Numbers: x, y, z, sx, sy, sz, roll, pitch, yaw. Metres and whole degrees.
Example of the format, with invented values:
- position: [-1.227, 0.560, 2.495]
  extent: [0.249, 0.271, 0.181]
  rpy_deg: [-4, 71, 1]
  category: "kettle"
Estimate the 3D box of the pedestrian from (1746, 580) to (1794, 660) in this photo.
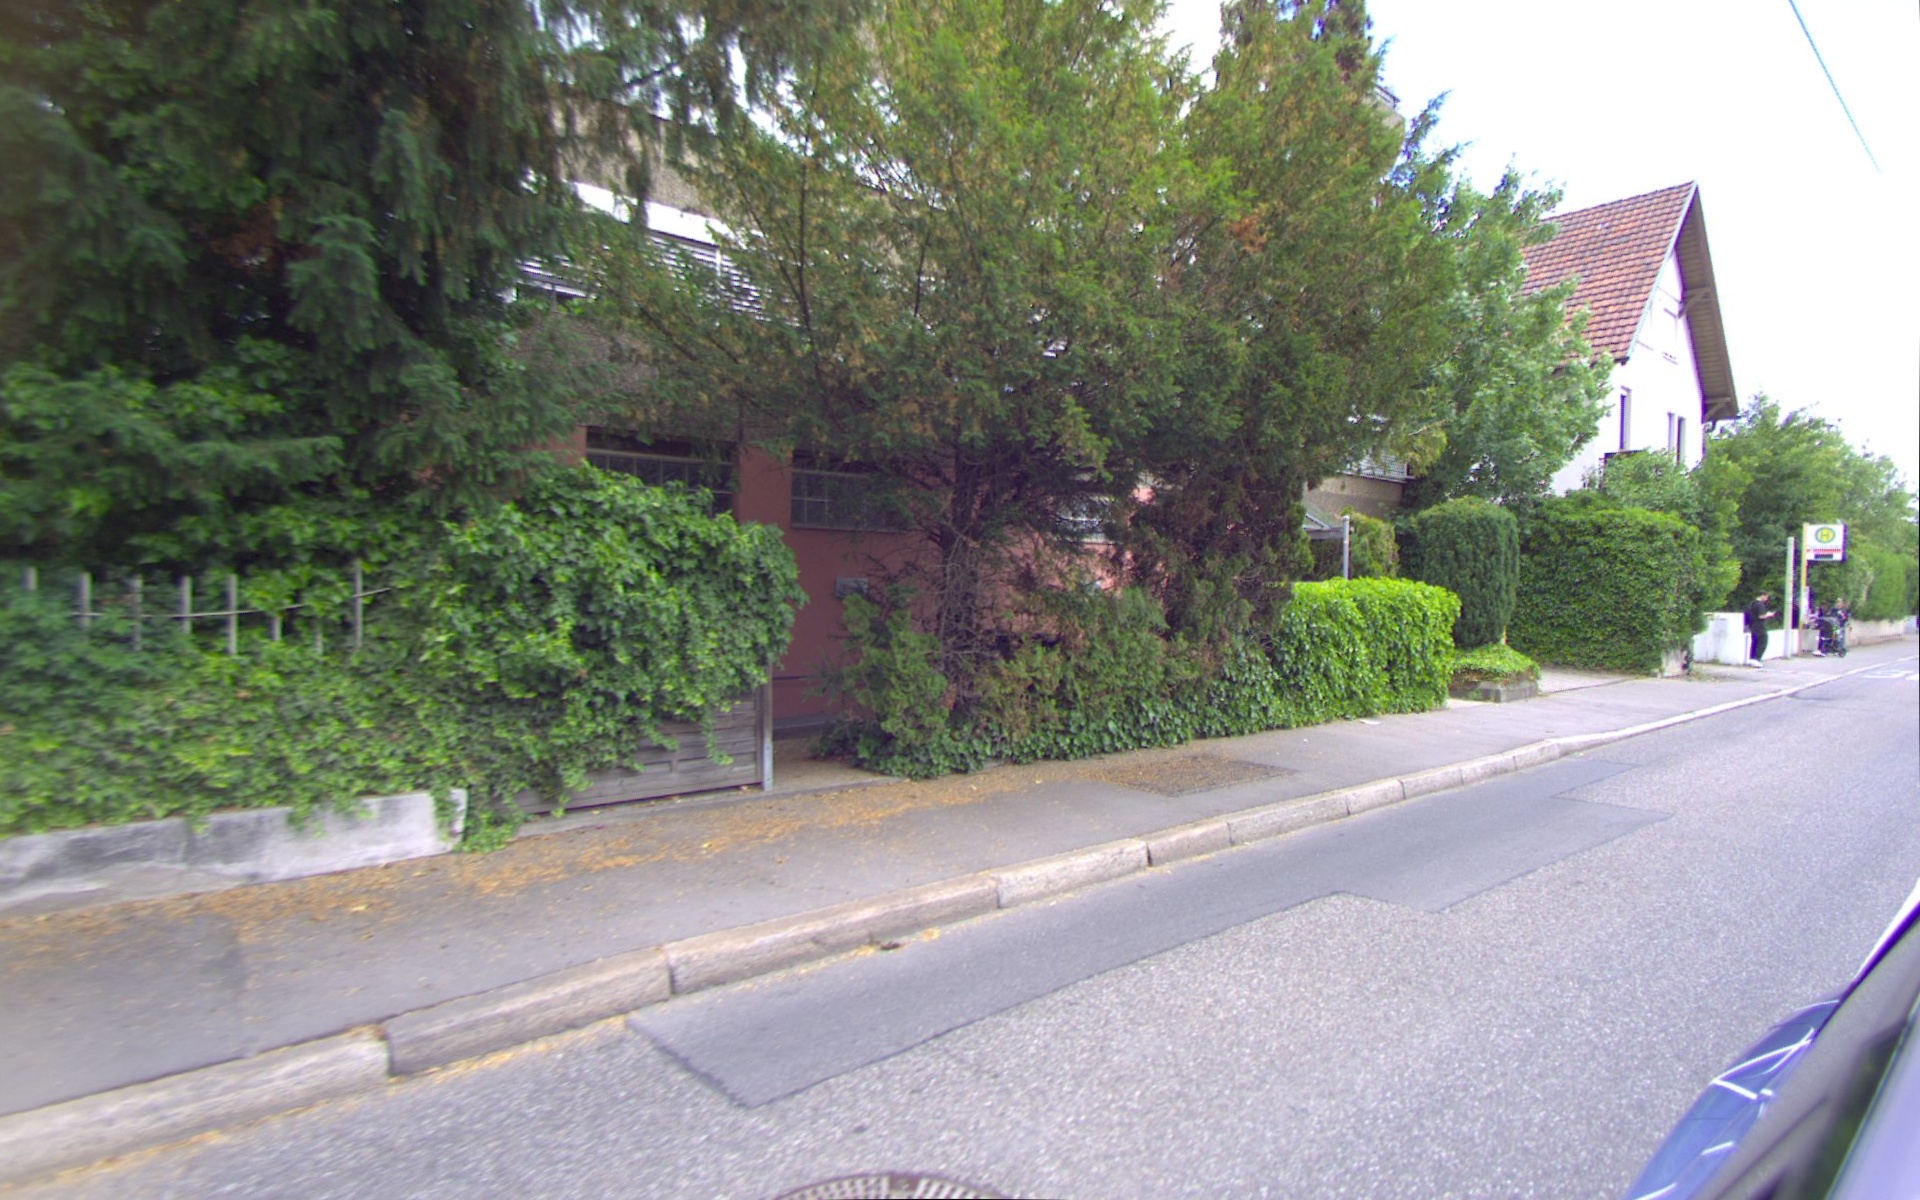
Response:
- position: [18.600, 0.453, 23.244]
  extent: [0.657, 1.789, 0.491]
  rpy_deg: [-1, -1, -9]
  category: "pedestrian"

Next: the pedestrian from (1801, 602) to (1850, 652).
- position: [23.315, 0.708, 27.254]
  extent: [0.914, 1.267, 0.777]
  rpy_deg: [4, 3, 44]
  category: "pedestrian"

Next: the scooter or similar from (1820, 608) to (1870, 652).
- position: [24.226, 0.815, 27.710]
  extent: [0.842, 1.110, 0.479]
  rpy_deg: [2, 3, 2]
  category: "scooter or similar"

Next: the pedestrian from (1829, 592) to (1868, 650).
- position: [24.834, 0.576, 28.290]
  extent: [0.736, 1.553, 0.661]
  rpy_deg: [0, 3, -42]
  category: "pedestrian"

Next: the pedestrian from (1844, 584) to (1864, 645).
- position: [26.698, 0.421, 30.217]
  extent: [0.344, 1.777, 0.489]
  rpy_deg: [4, 3, 45]
  category: "pedestrian"
